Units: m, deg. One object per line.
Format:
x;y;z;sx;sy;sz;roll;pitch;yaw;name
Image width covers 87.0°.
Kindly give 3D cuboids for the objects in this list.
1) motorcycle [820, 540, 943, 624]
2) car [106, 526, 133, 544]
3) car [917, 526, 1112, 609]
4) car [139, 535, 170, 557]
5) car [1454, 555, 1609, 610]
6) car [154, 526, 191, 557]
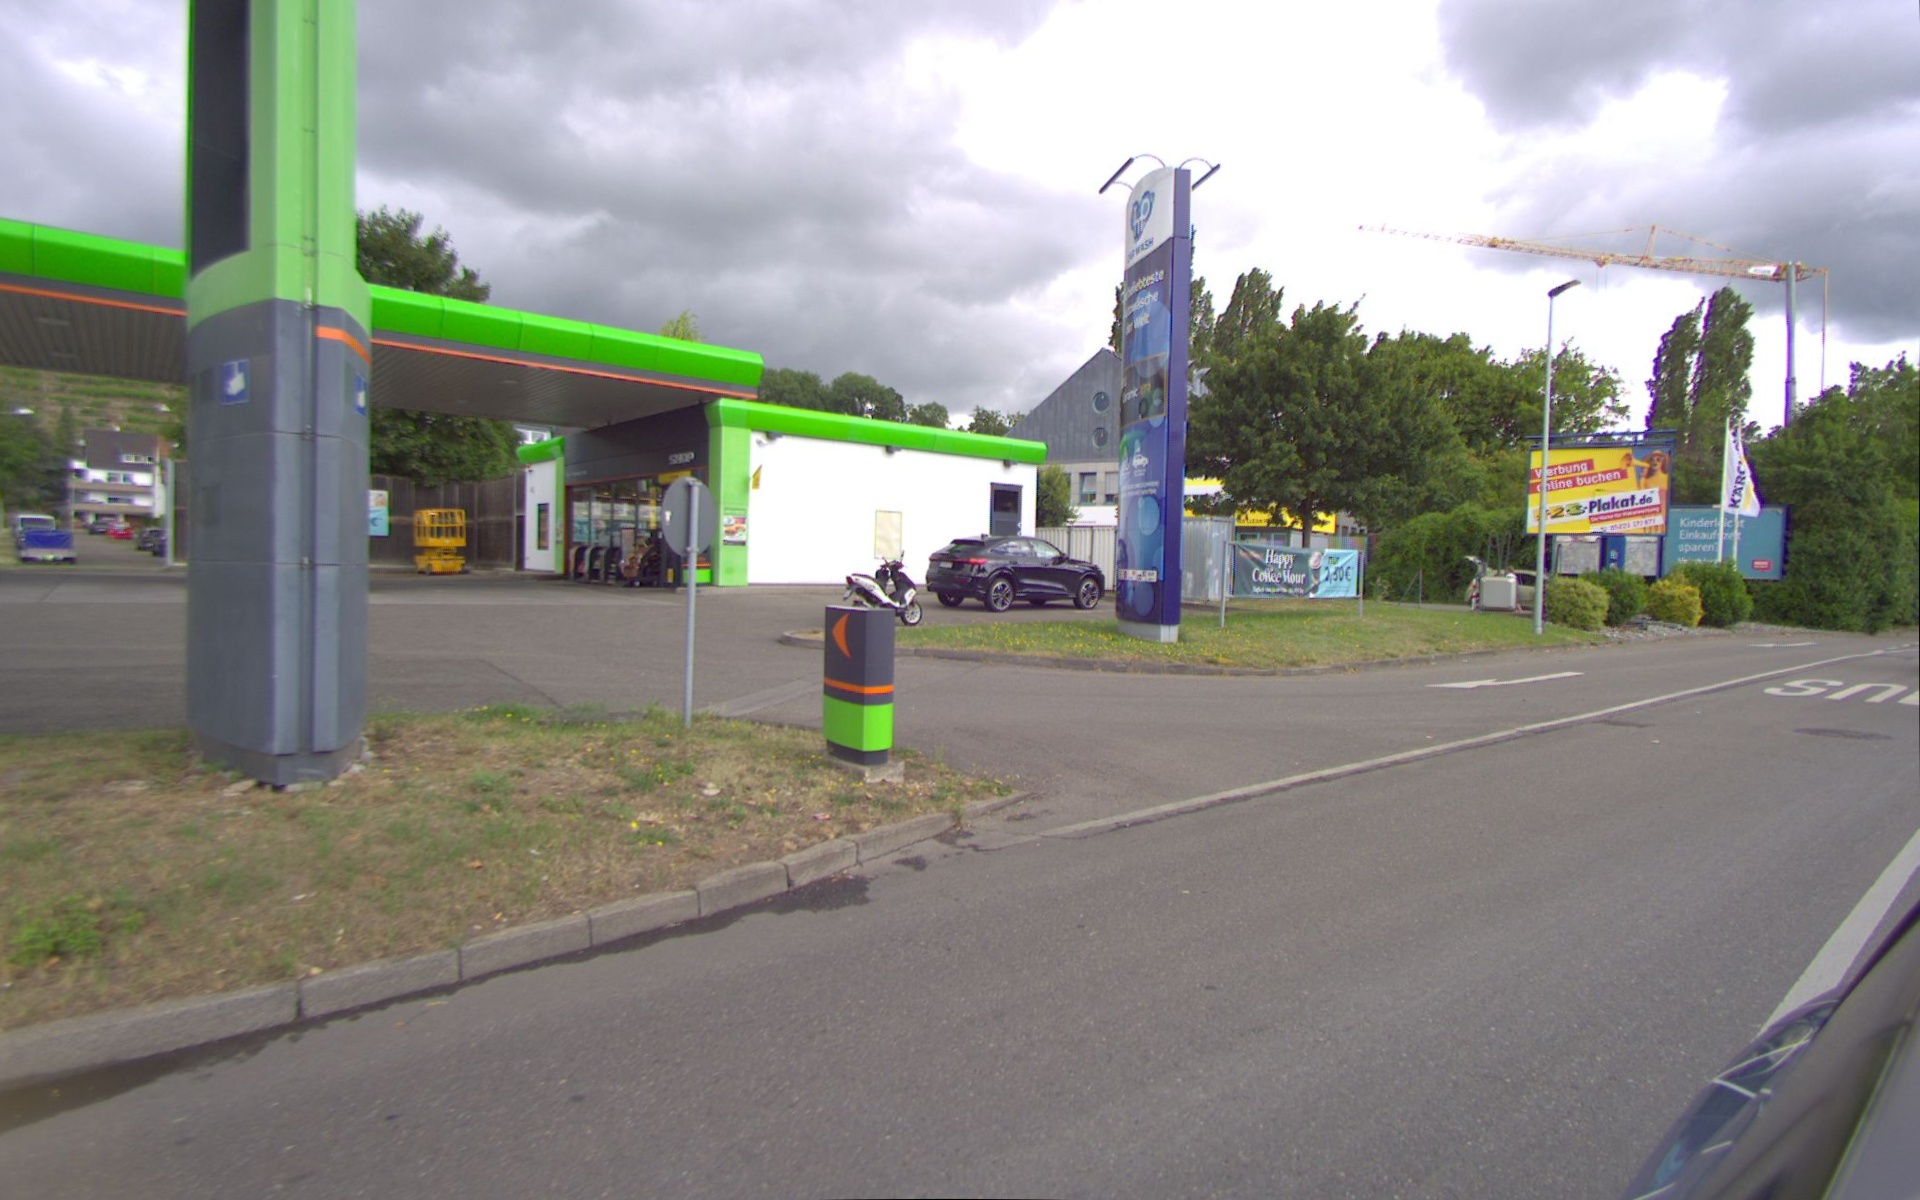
-1.325;-0.315;17.267;1.955;1.347;0.857;0;3;-41;motorcycle
-80.578;-6.220;97.025;1.802;1.660;3.999;0;3;-37;car
1.293;-0.756;22.945;4.259;1.694;1.826;-1;5;-39;car
-57.869;-3.853;72.695;1.707;1.434;3.995;-1;1;-40;car
19.458;-0.645;34.507;4.017;1.676;2.900;4;3;43;car
-48.279;-3.554;62.010;1.707;1.755;3.995;0;1;-40;car
